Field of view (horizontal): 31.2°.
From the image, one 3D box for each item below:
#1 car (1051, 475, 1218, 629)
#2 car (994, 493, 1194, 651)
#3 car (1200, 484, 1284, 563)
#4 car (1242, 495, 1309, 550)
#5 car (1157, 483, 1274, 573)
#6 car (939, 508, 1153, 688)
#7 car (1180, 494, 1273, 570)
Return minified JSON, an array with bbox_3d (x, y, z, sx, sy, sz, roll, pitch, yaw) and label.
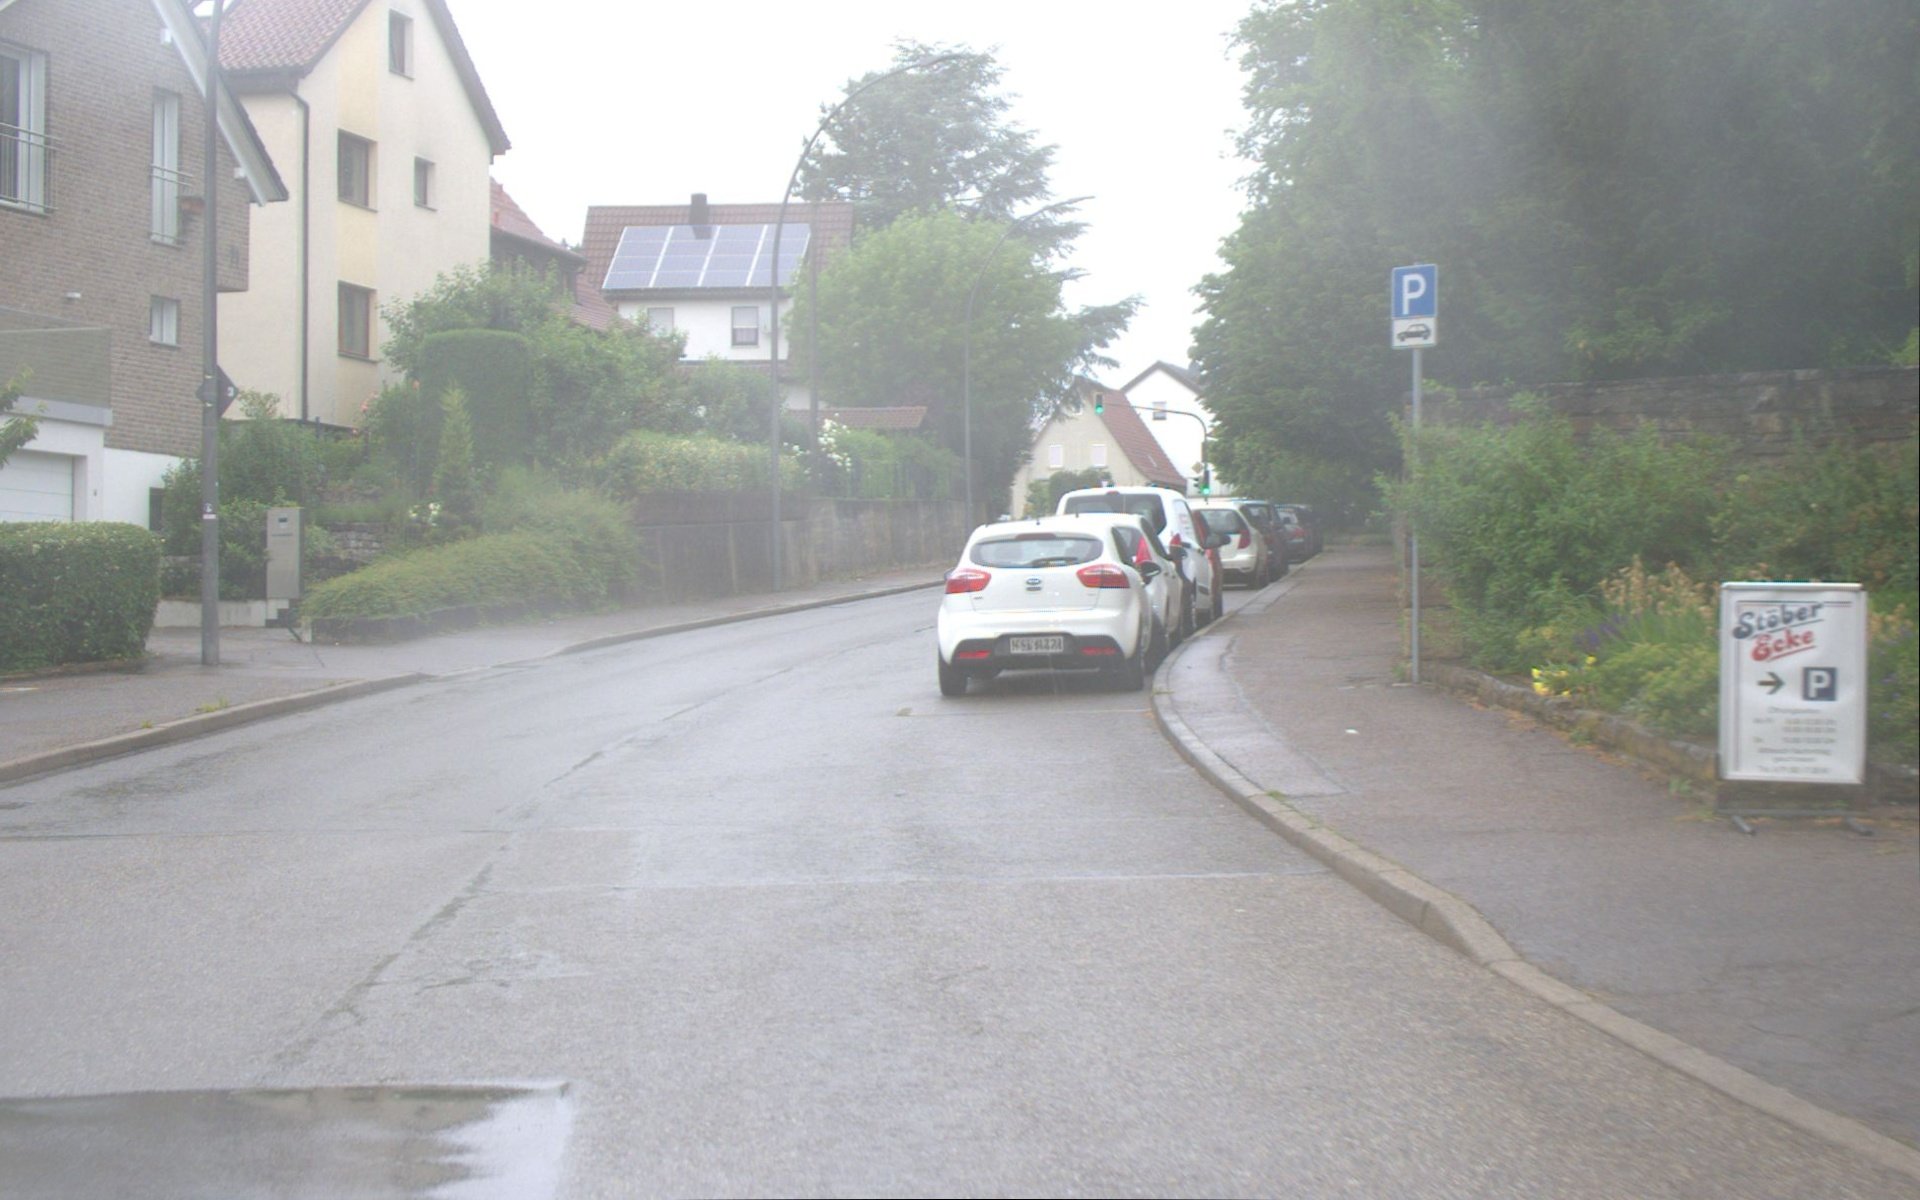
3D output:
[{"bbox_3d":[2.138,-0.598,41.286,1.637,1.735,4.135,-1,1,8],"label":"car"},{"bbox_3d":[1.432,-0.333,35.339,1.646,1.457,4.000,0,3,8],"label":"car"},{"bbox_3d":[6.200,-1.670,75.290,1.742,1.662,4.497,-1,1,5],"label":"car"},{"bbox_3d":[8.148,-2.011,88.841,1.652,1.367,4.181,-1,2,5],"label":"car"},{"bbox_3d":[4.706,-1.314,62.970,1.815,1.568,3.879,-1,1,9],"label":"car"},{"bbox_3d":[0.822,-0.068,30.437,1.612,1.475,4.038,0,2,5],"label":"car"},{"bbox_3d":[5.370,-1.364,68.945,1.765,1.442,4.696,-1,1,5],"label":"car"}]
